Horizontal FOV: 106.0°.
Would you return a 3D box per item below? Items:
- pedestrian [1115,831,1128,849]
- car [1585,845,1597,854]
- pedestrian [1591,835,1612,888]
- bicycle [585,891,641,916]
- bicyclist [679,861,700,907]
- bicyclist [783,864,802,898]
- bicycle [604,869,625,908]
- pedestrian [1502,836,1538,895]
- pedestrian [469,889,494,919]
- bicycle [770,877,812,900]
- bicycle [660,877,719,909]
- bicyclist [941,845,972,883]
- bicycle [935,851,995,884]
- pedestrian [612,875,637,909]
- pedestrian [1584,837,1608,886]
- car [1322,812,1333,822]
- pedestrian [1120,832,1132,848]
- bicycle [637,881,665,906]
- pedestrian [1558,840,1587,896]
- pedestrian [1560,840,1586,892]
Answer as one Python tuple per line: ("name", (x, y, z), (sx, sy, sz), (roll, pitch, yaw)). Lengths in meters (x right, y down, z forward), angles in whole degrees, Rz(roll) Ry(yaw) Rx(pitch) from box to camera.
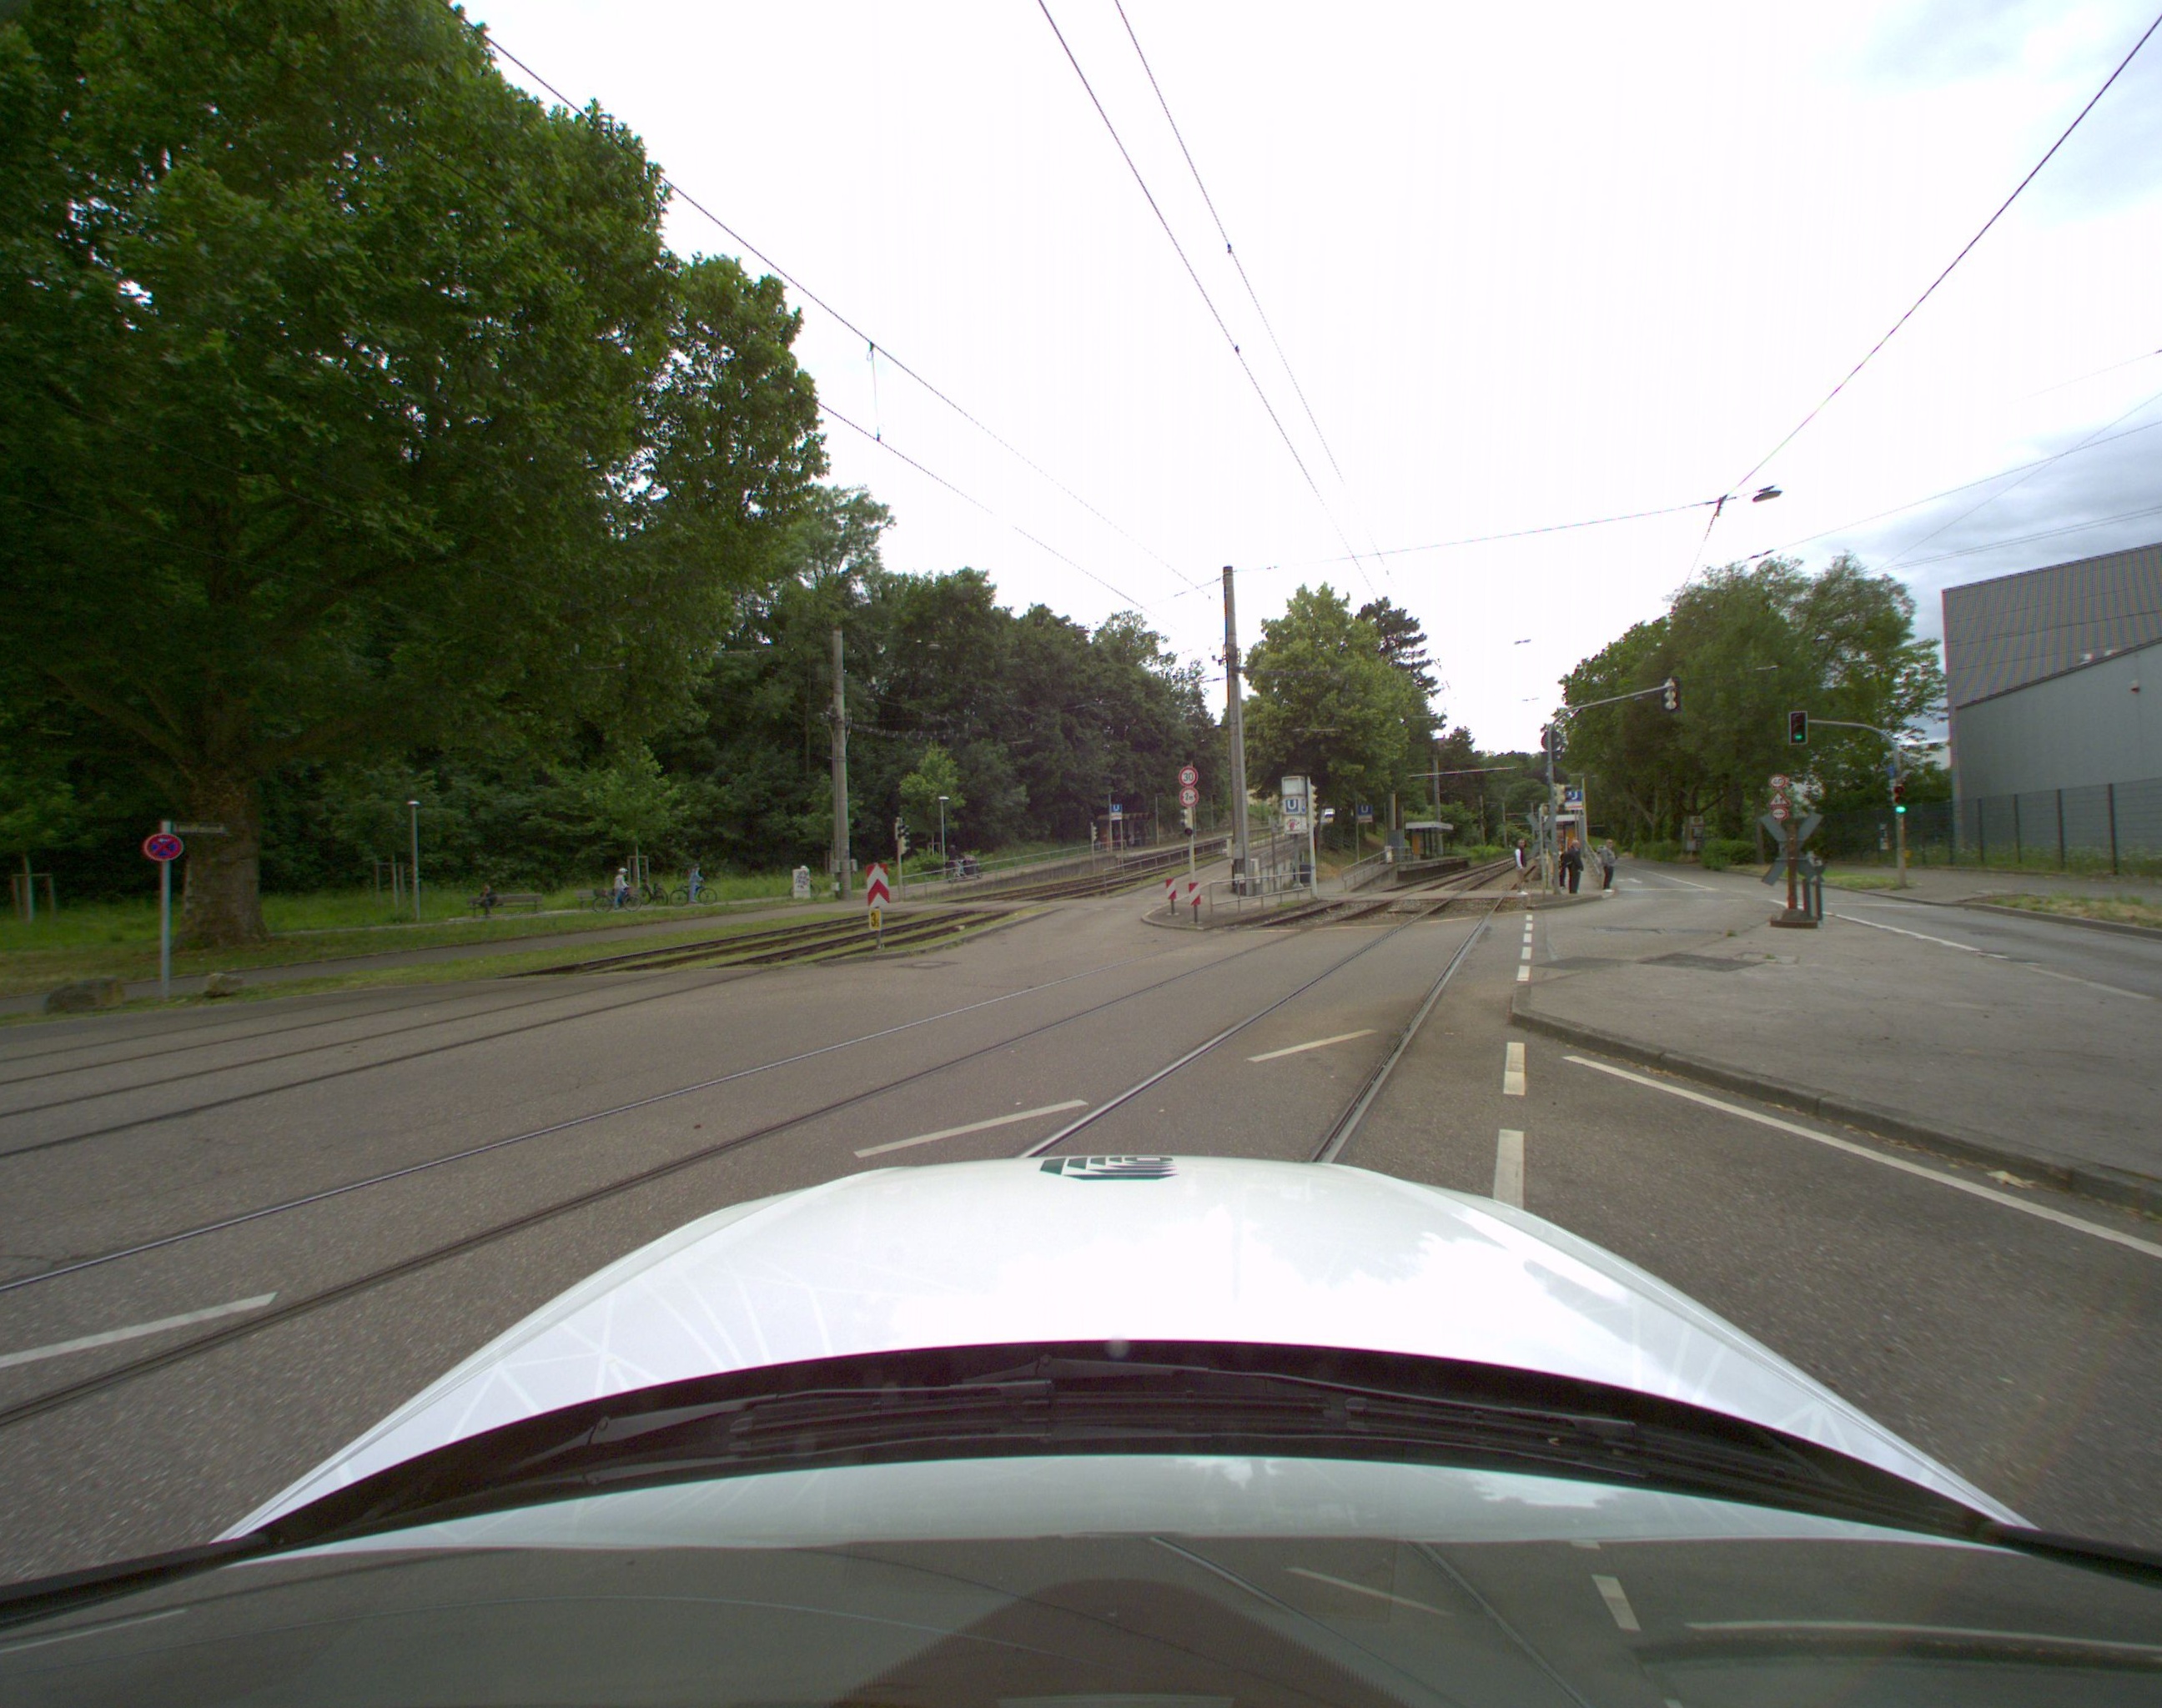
("pedestrian", (3.204, -1.104, 63.971), (0.765, 1.325, 0.791), (0, 3, 22))
("car", (99.390, -0.859, 158.652), (1.727, 1.598, 4.025), (1, 1, 30))
("pedestrian", (17.606, 0.231, 27.544), (0.544, 1.758, 0.742), (1, 0, 34))
("bicycle", (-16.631, 1.748, 28.982), (1.661, 0.738, 0.450), (-3, 4, -39))
("bicyclist", (-14.870, 1.140, 30.893), (0.626, 1.674, 0.470), (-2, 3, -32))
("bicyclist", (-11.862, 1.116, 33.483), (0.583, 1.300, 0.450), (-5, 5, -32))
("bicycle", (-16.606, 1.236, 28.984), (0.519, 1.329, 0.450), (-3, 4, -39))
("pedestrian", (13.849, 0.350, 25.707), (0.799, 1.821, 0.671), (0, 0, 2))
("pedestrian", (-20.781, 1.732, 28.222), (0.526, 0.989, 0.624), (1, 1, 45))
("bicycle", (-11.911, 1.406, 33.469), (1.565, 0.738, 0.450), (-5, 5, -32))
("bicycle", (-14.853, 1.463, 30.920), (1.952, 1.041, 0.470), (-2, 3, -32))
("bicyclist", (-5.949, 0.445, 38.972), (0.726, 1.710, 1.301), (1, 5, 35))
("bicycle", (-5.581, 0.614, 39.549), (0.726, 1.289, 3.369), (1, 5, 35))
("pedestrian", (-17.497, 1.456, 31.202), (0.573, 1.235, 0.677), (1, 0, 43))
("pedestrian", (17.903, 0.257, 28.317), (0.673, 1.665, 0.742), (1, 0, 32))
("car", (53.291, -8.022, 175.992), (1.976, 2.145, 4.022), (1, 1, 22))
("pedestrian", (3.594, -1.124, 64.975), (0.765, 1.326, 0.791), (0, 0, 22))
("bicycle", (-16.996, 1.546, 32.198), (0.625, 0.885, 1.726), (0, 1, -40))
("pedestrian", (14.891, 0.408, 24.664), (0.728, 1.665, 0.686), (1, 0, 32))
("pedestrian", (16.101, 0.384, 26.654), (0.673, 1.665, 0.742), (0, 0, 27))
